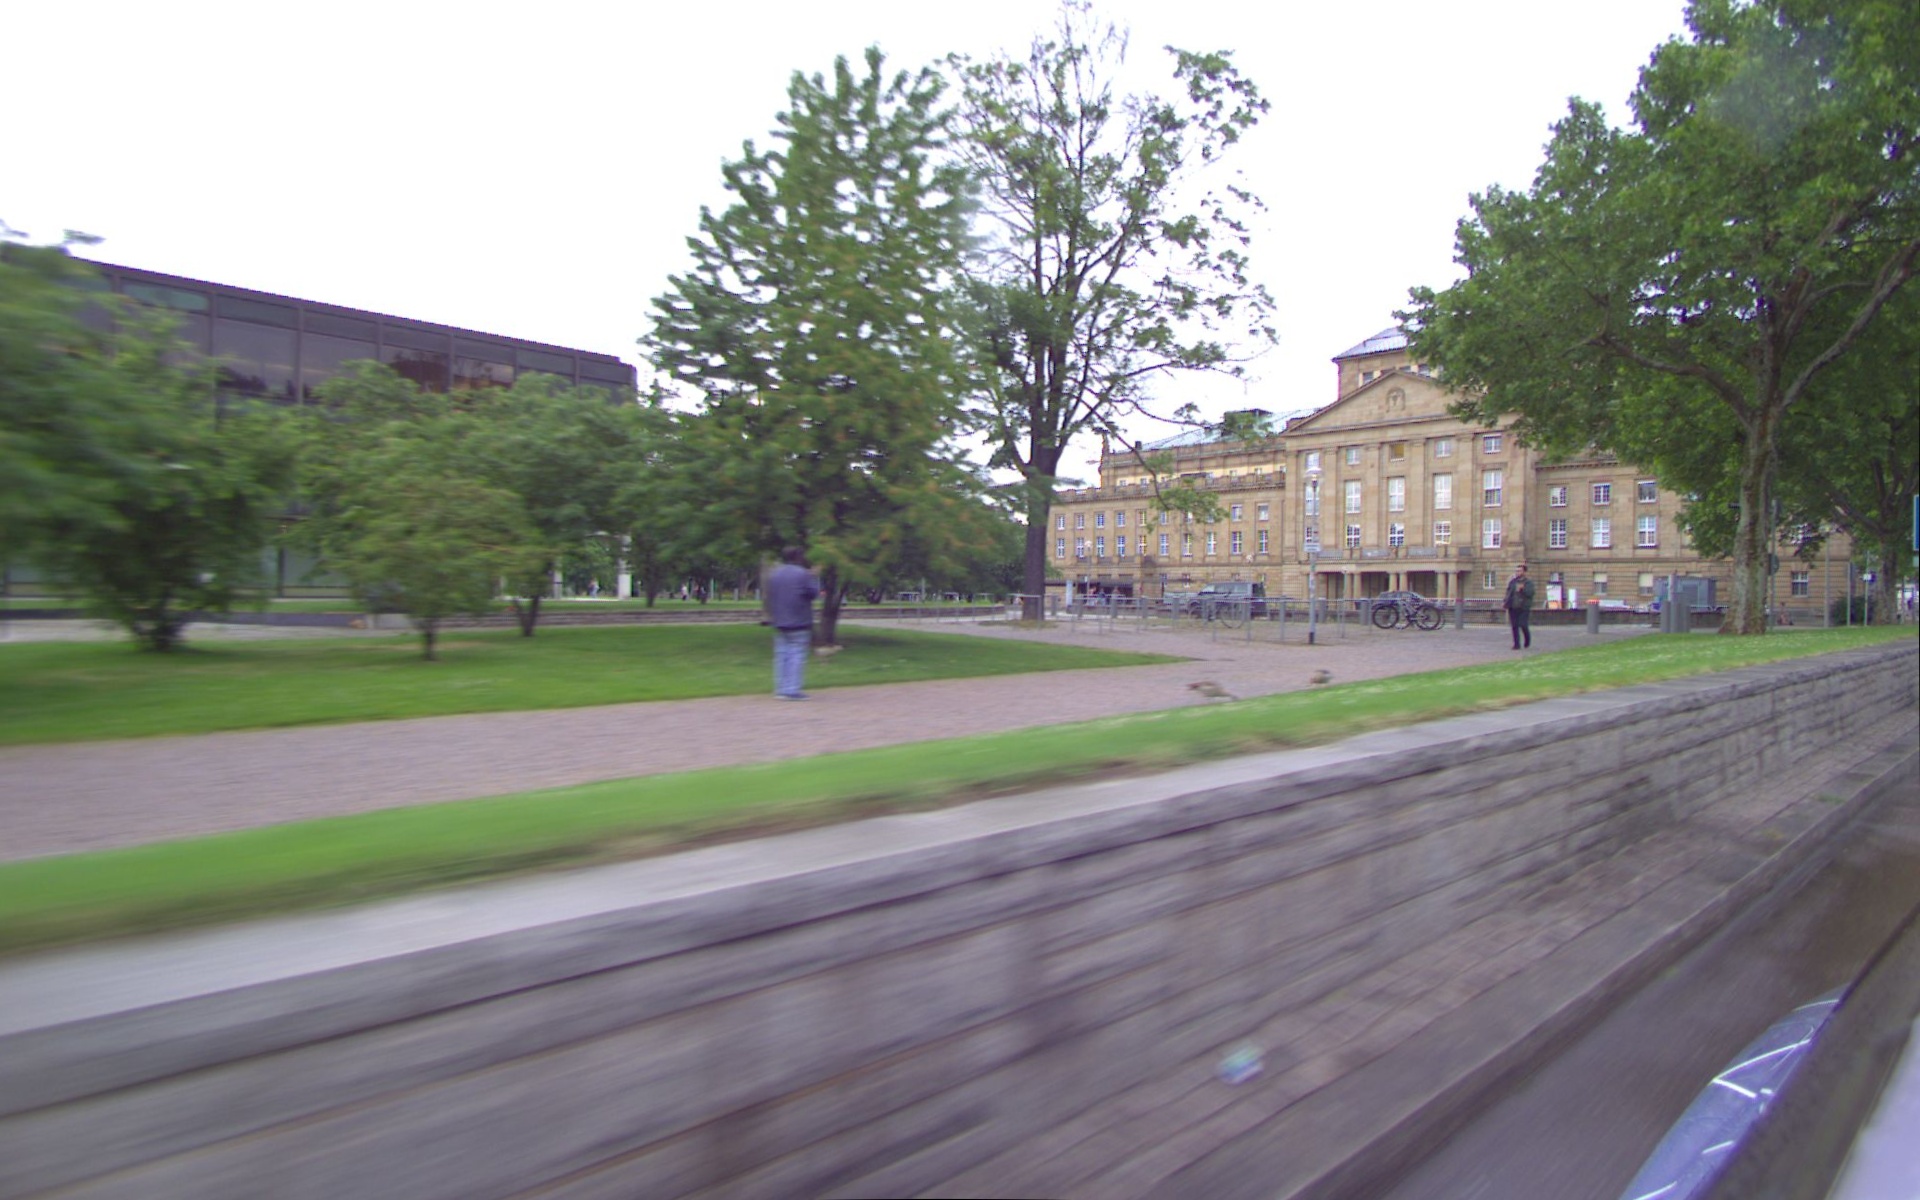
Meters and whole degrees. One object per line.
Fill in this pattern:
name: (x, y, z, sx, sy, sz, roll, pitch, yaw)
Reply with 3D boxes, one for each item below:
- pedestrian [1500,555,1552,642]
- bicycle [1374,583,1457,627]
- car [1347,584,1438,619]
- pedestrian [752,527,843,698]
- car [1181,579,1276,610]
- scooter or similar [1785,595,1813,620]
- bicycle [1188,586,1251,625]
pedestrian: (11.713, -0.043, 20.956, 0.681, 1.739, 0.706, 1, 2, -43)
bicycle: (13.078, 0.134, 29.075, 2.029, 1.188, 0.947, 1, 0, 37)
car: (22.272, 0.038, 52.205, 1.628, 1.620, 3.994, 0, 2, -41)
pedestrian: (-1.754, 0.124, 10.940, 0.595, 1.777, 0.714, 2, 1, 44)
car: (16.001, -0.324, 60.497, 5.006, 1.786, 2.422, 1, 0, 44)
scooter or similar: (44.246, 0.384, 53.409, 0.535, 1.271, 1.431, 1, 1, 14)
bicycle: (7.606, 0.141, 29.657, 1.640, 1.099, 0.698, 1, 0, 42)
